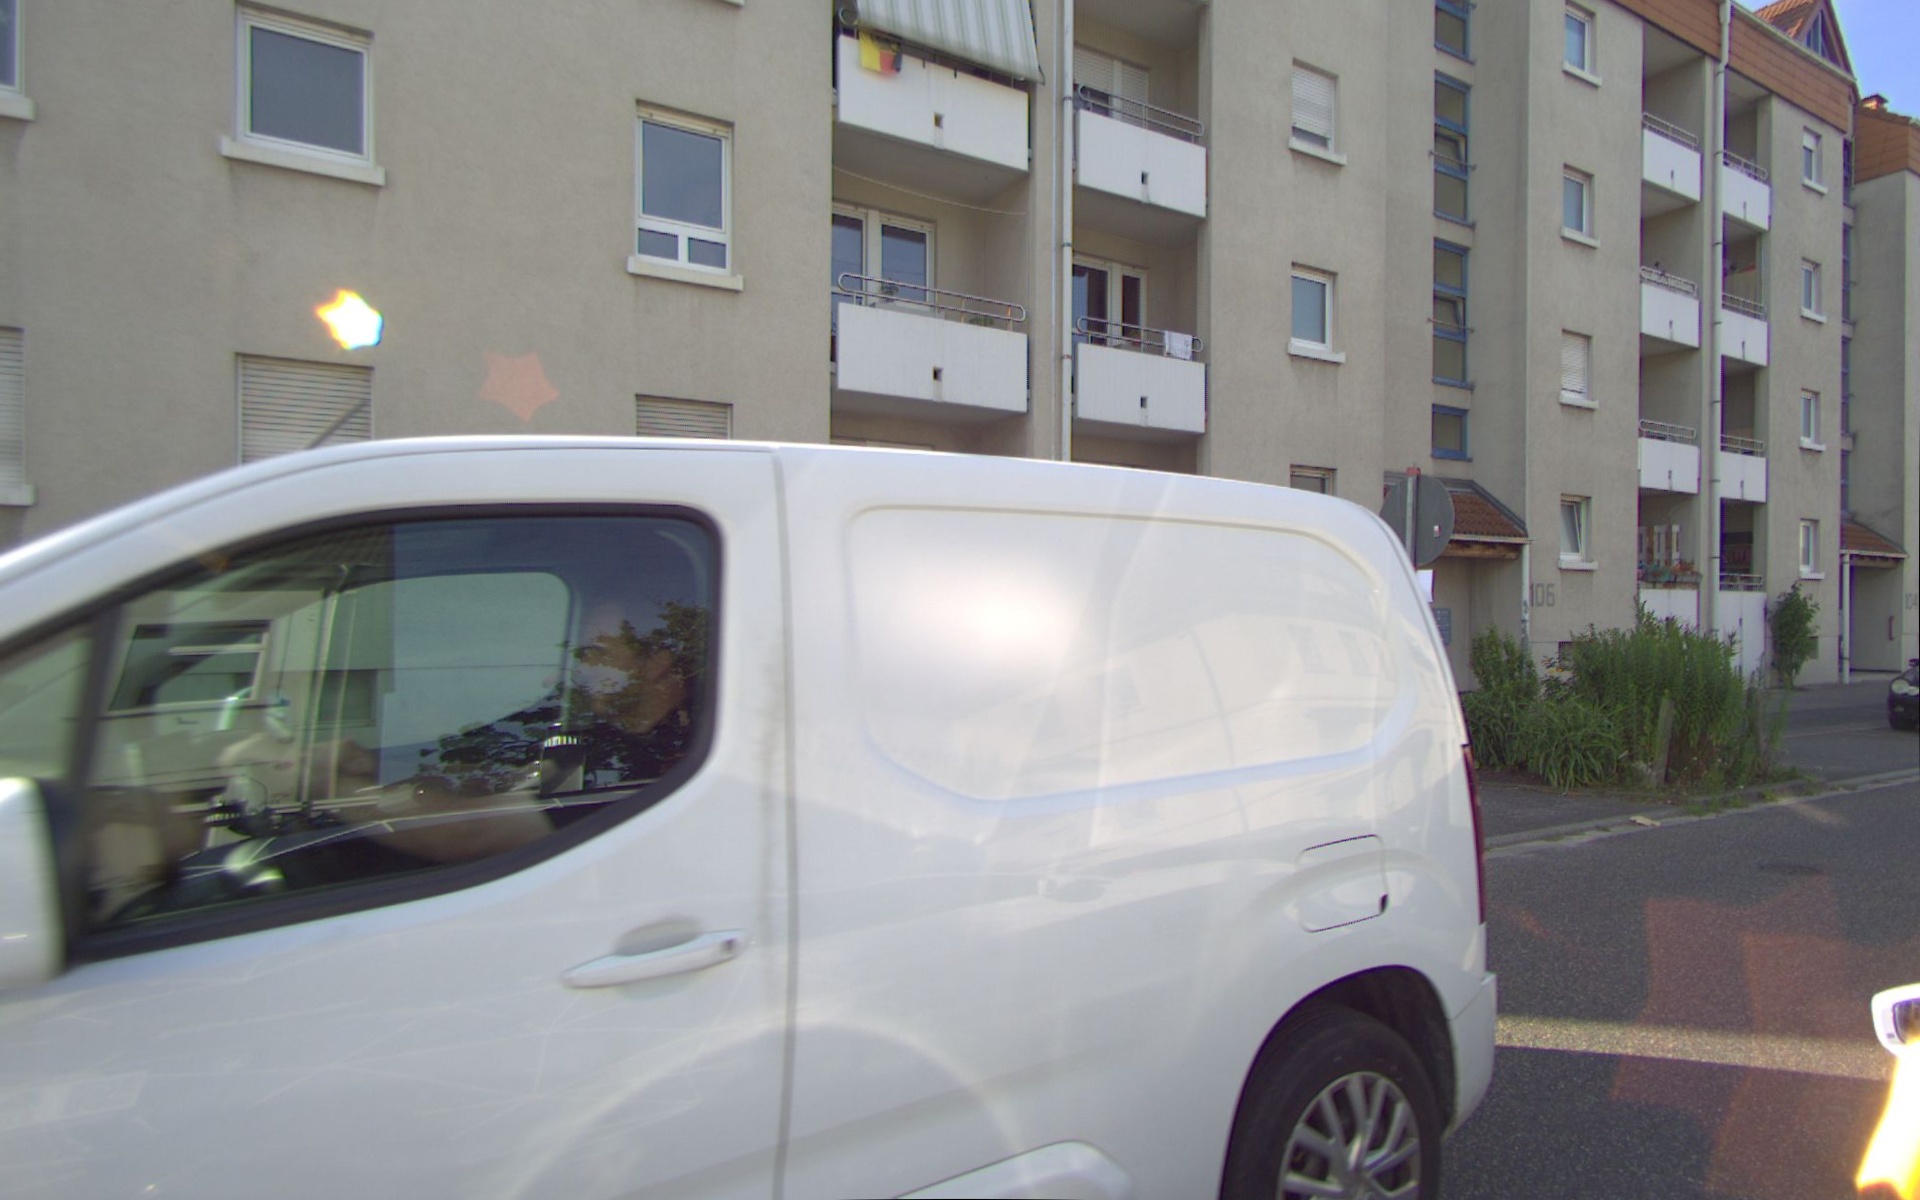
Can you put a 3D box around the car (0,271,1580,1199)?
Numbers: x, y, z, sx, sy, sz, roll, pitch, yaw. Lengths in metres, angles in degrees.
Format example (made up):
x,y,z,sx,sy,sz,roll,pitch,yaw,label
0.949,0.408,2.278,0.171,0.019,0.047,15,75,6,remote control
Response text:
x,y,z,sx,sy,sz,roll,pitch,yaw,label
-0.885,0.601,2.111,4.286,1.790,1.913,1,-2,-30,car

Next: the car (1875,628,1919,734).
x,y,z,sx,sy,sz,roll,pitch,yaw,label
15.053,1.150,14.495,4.037,1.424,1.677,1,0,-31,car

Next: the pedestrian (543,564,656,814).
x,y,z,sx,sy,sz,roll,pitch,yaw,label
-2.845,0.654,7.903,0.736,1.843,0.715,0,1,-29,pedestrian
